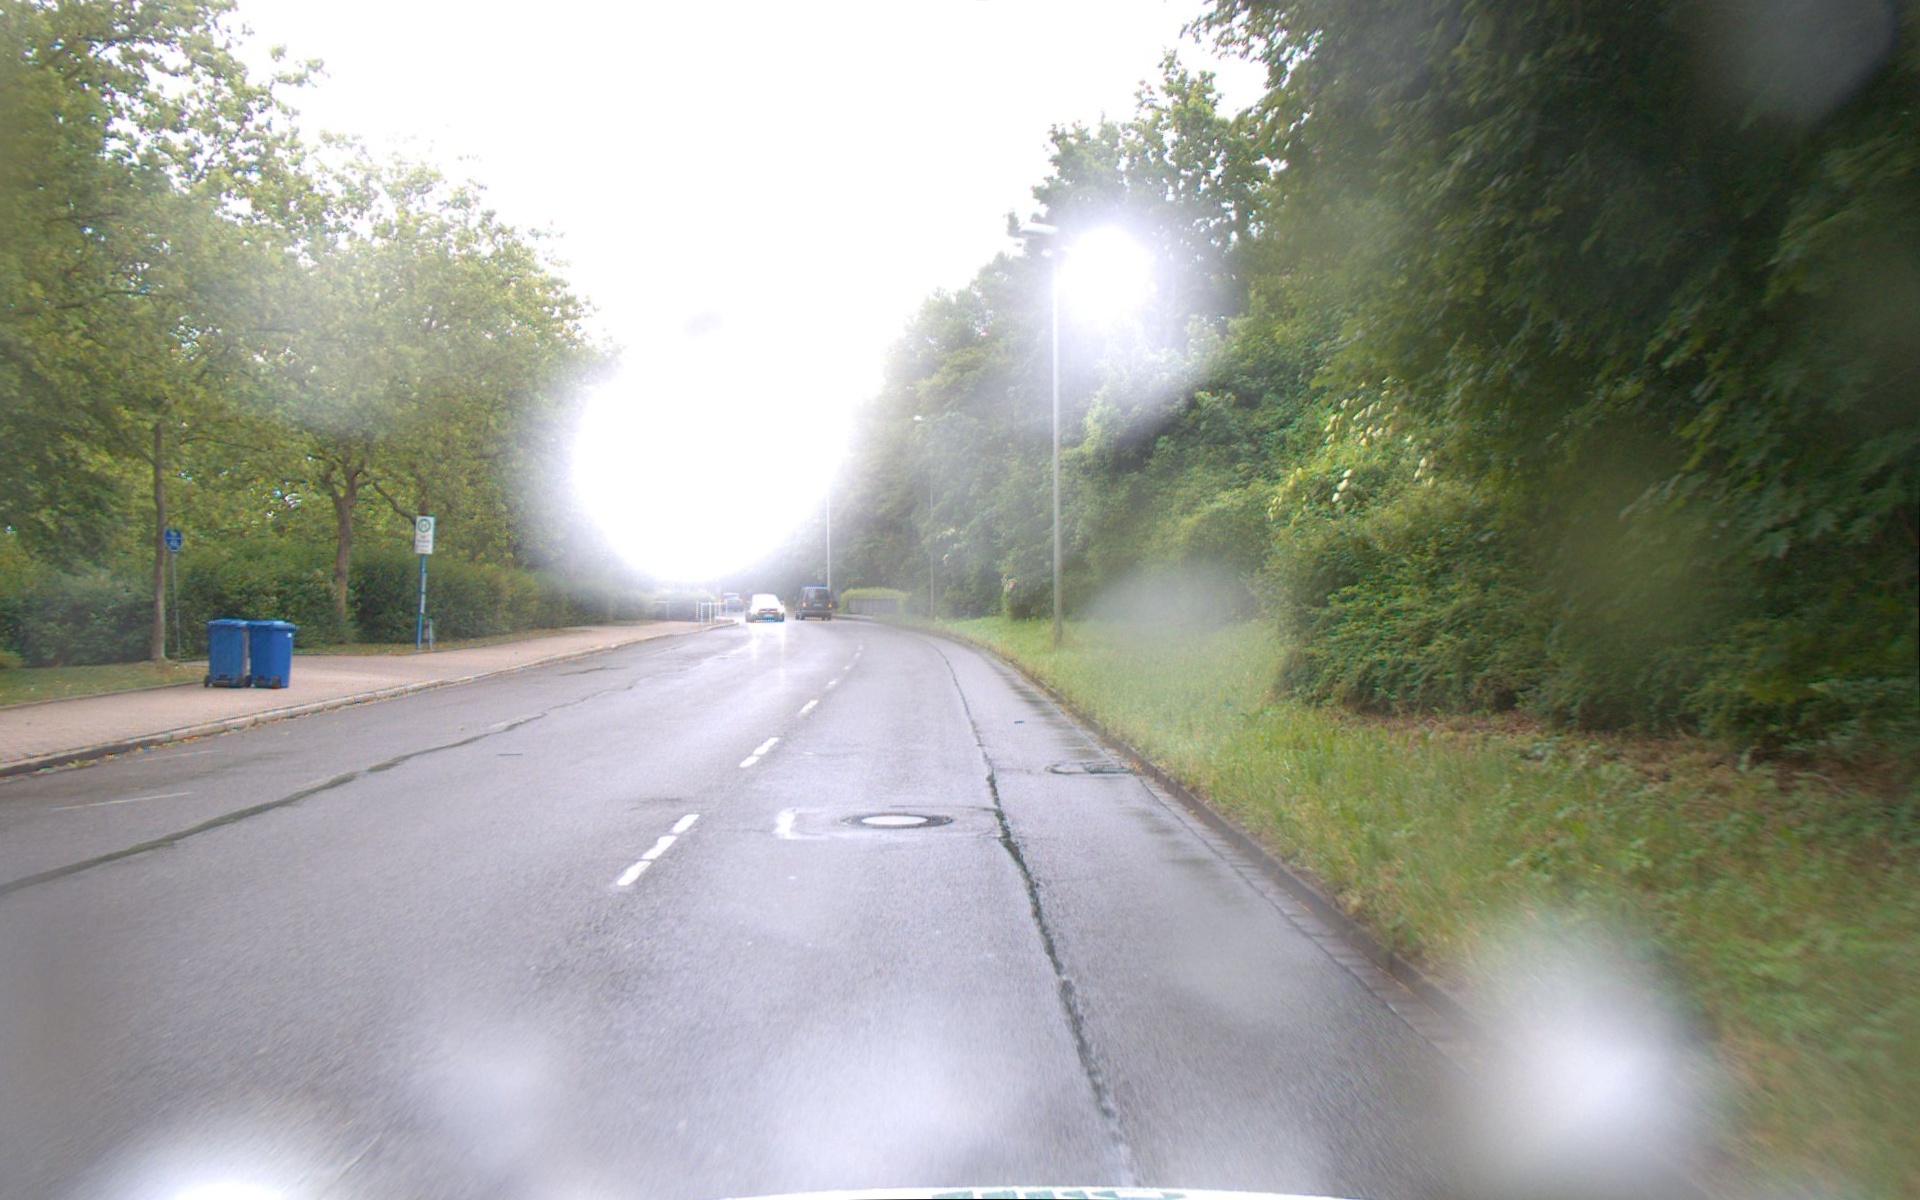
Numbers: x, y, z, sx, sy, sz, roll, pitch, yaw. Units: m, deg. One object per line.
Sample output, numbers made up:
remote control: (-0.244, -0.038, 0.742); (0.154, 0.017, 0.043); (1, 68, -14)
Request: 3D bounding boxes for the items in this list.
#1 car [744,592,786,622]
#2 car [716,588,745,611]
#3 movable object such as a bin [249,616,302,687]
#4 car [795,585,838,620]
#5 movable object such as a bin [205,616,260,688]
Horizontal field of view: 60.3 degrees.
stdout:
car: (-10.244, 0.343, 86.681); (1.794, 1.490, 3.988); (-1, 0, -12)
car: (-18.577, -0.034, 133.855); (1.959, 1.847, 3.986); (1, 0, -13)
movable object such as a bin: (-11.158, 0.831, 26.975); (0.555, 1.117, 0.672); (2, 0, 0)
car: (-8.083, 0.120, 93.013); (1.951, 1.959, 3.988); (0, 0, -12)
movable object such as a bin: (-11.746, 0.831, 26.711); (0.555, 1.117, 0.672); (2, 0, 0)
